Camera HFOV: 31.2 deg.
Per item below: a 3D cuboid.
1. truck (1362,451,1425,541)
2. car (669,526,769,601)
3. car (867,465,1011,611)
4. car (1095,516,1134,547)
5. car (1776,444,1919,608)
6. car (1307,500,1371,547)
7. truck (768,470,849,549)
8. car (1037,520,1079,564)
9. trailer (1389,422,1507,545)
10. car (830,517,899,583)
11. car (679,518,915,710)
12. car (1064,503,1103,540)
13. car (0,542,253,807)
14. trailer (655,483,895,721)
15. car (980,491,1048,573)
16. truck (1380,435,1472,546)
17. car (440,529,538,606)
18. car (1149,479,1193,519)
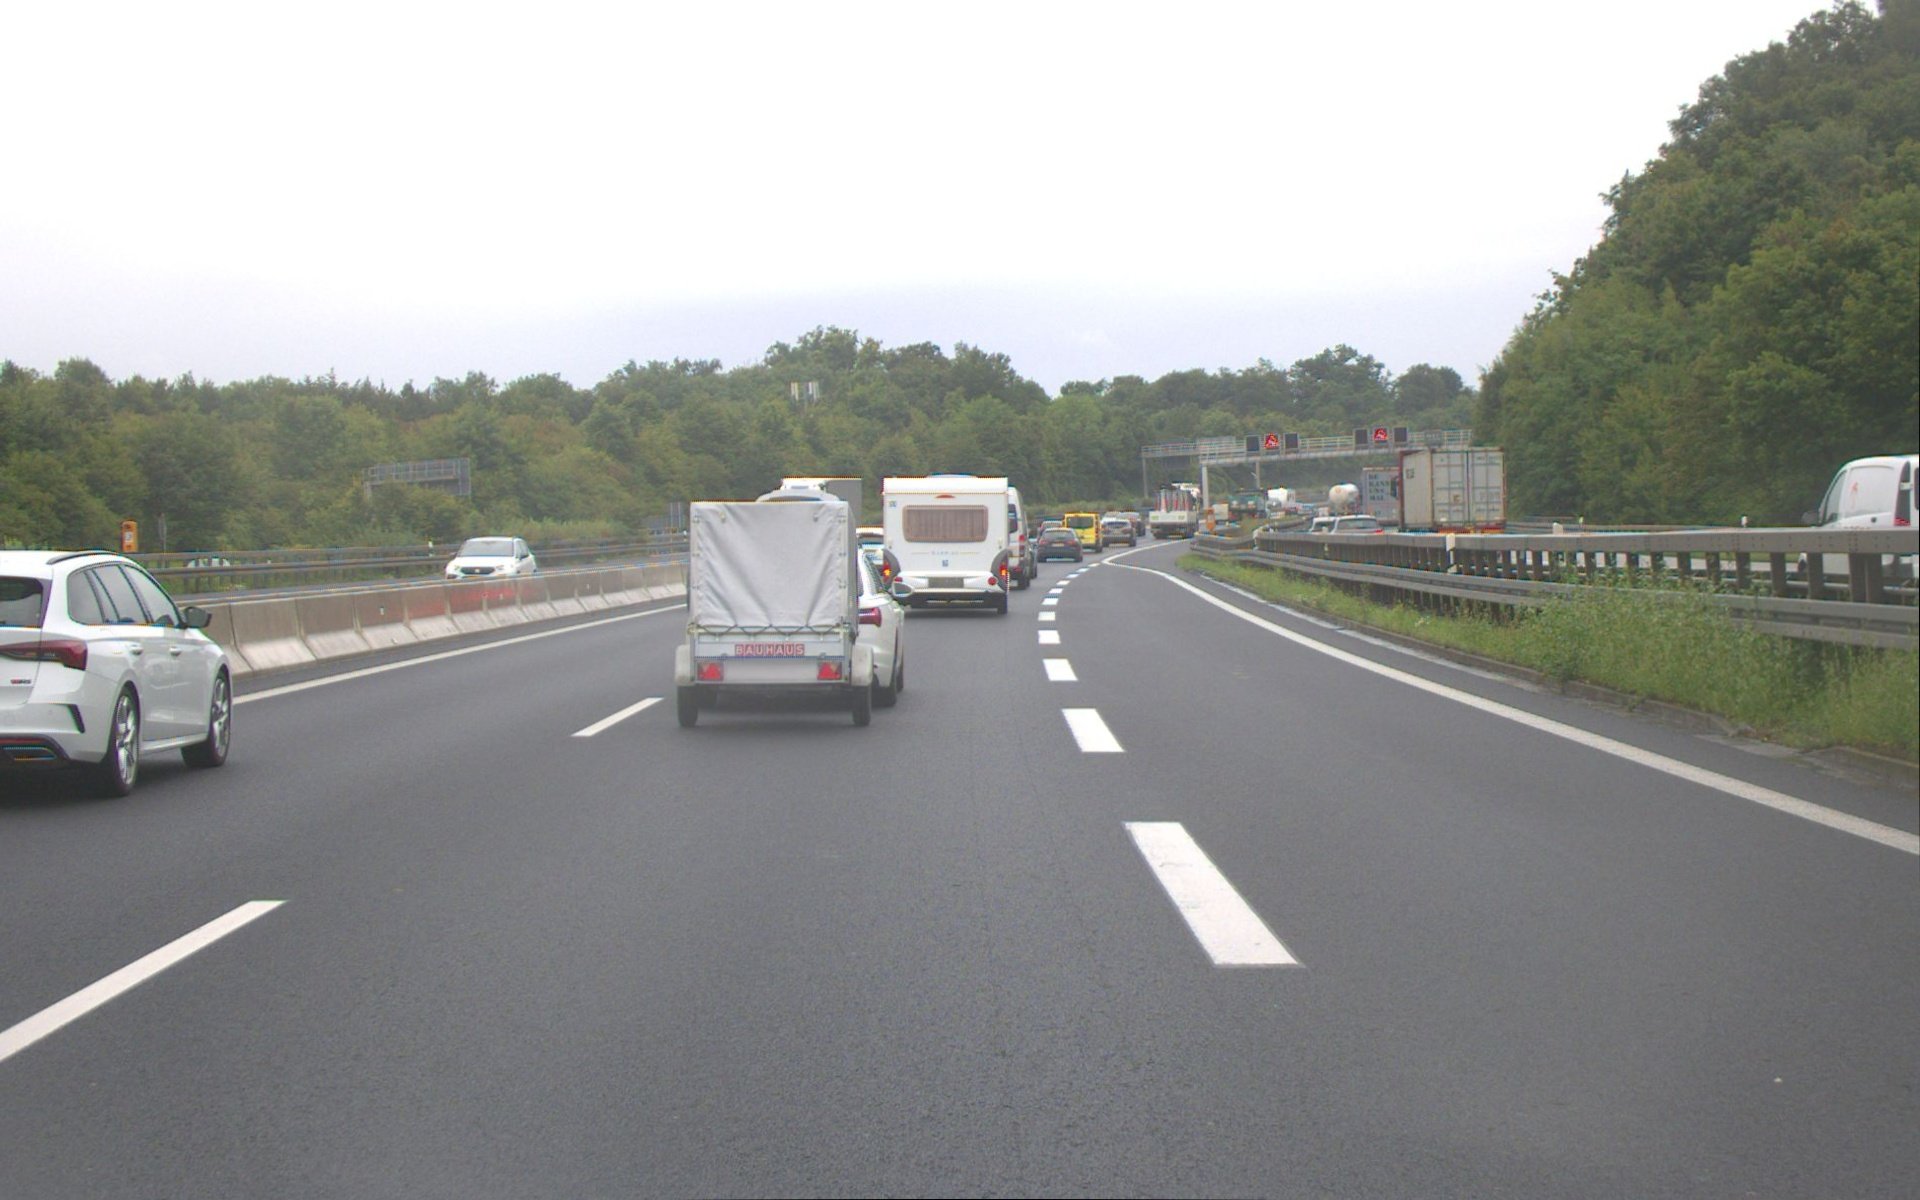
[{"bbox_3d":[23.725,-5.614,188.678,3.216,4.650,13.029,-1,1,7],"label":"truck"},{"bbox_3d":[-4.866,-0.747,69.856,1.676,1.451,4.000,-1,1,1],"label":"car"},{"bbox_3d":[-0.336,-1.150,64.761,2.507,2.576,5.699,-1,1,1],"label":"car"},{"bbox_3d":[8.785,-3.902,195.551,2.038,1.677,3.999,-1,1,5],"label":"car"},{"bbox_3d":[10.562,-0.801,37.756,1.909,1.688,4.719,-1,1,-2],"label":"car"},{"bbox_3d":[12.124,-2.442,110.150,1.667,1.378,4.126,-3,1,2],"label":"car"},{"bbox_3d":[-8.234,-4.900,188.535,2.788,4.078,12.297,-1,1,5],"label":"truck"},{"bbox_3d":[4.098,-2.406,143.585,1.676,1.806,4.000,-1,1,2],"label":"car"},{"bbox_3d":[16.727,-3.903,118.537,2.604,3.881,12.490,-1,1,2],"label":"trailer"},{"bbox_3d":[-2.848,-1.489,103.287,1.993,1.912,4.000,-1,1,-1],"label":"car"},{"bbox_3d":[-1.423,0.094,31.691,1.818,1.610,4.778,-1,1,1],"label":"car"},{"bbox_3d":[6.199,-3.917,172.486,1.676,1.806,3.999,-1,1,6],"label":"car"},{"bbox_3d":[-5.766,0.396,21.299,1.818,1.451,4.778,-1,1,-1],"label":"car"},{"bbox_3d":[-1.461,-0.007,28.439,1.676,1.806,4.000,-1,1,1],"label":"trailer"},{"bbox_3d":[1.439,-1.757,89.883,1.676,2.060,4.000,-1,1,2],"label":"car"},{"bbox_3d":[16.935,-3.935,125.215,2.616,3.871,6.392,-1,1,2],"label":"truck"},{"bbox_3d":[-12.159,-0.839,88.981,1.738,1.912,4.316,-1,1,2],"label":"car"},{"bbox_3d":[14.241,-6.811,231.929,2.516,2.566,5.310,-1,1,8],"label":"car"}]
